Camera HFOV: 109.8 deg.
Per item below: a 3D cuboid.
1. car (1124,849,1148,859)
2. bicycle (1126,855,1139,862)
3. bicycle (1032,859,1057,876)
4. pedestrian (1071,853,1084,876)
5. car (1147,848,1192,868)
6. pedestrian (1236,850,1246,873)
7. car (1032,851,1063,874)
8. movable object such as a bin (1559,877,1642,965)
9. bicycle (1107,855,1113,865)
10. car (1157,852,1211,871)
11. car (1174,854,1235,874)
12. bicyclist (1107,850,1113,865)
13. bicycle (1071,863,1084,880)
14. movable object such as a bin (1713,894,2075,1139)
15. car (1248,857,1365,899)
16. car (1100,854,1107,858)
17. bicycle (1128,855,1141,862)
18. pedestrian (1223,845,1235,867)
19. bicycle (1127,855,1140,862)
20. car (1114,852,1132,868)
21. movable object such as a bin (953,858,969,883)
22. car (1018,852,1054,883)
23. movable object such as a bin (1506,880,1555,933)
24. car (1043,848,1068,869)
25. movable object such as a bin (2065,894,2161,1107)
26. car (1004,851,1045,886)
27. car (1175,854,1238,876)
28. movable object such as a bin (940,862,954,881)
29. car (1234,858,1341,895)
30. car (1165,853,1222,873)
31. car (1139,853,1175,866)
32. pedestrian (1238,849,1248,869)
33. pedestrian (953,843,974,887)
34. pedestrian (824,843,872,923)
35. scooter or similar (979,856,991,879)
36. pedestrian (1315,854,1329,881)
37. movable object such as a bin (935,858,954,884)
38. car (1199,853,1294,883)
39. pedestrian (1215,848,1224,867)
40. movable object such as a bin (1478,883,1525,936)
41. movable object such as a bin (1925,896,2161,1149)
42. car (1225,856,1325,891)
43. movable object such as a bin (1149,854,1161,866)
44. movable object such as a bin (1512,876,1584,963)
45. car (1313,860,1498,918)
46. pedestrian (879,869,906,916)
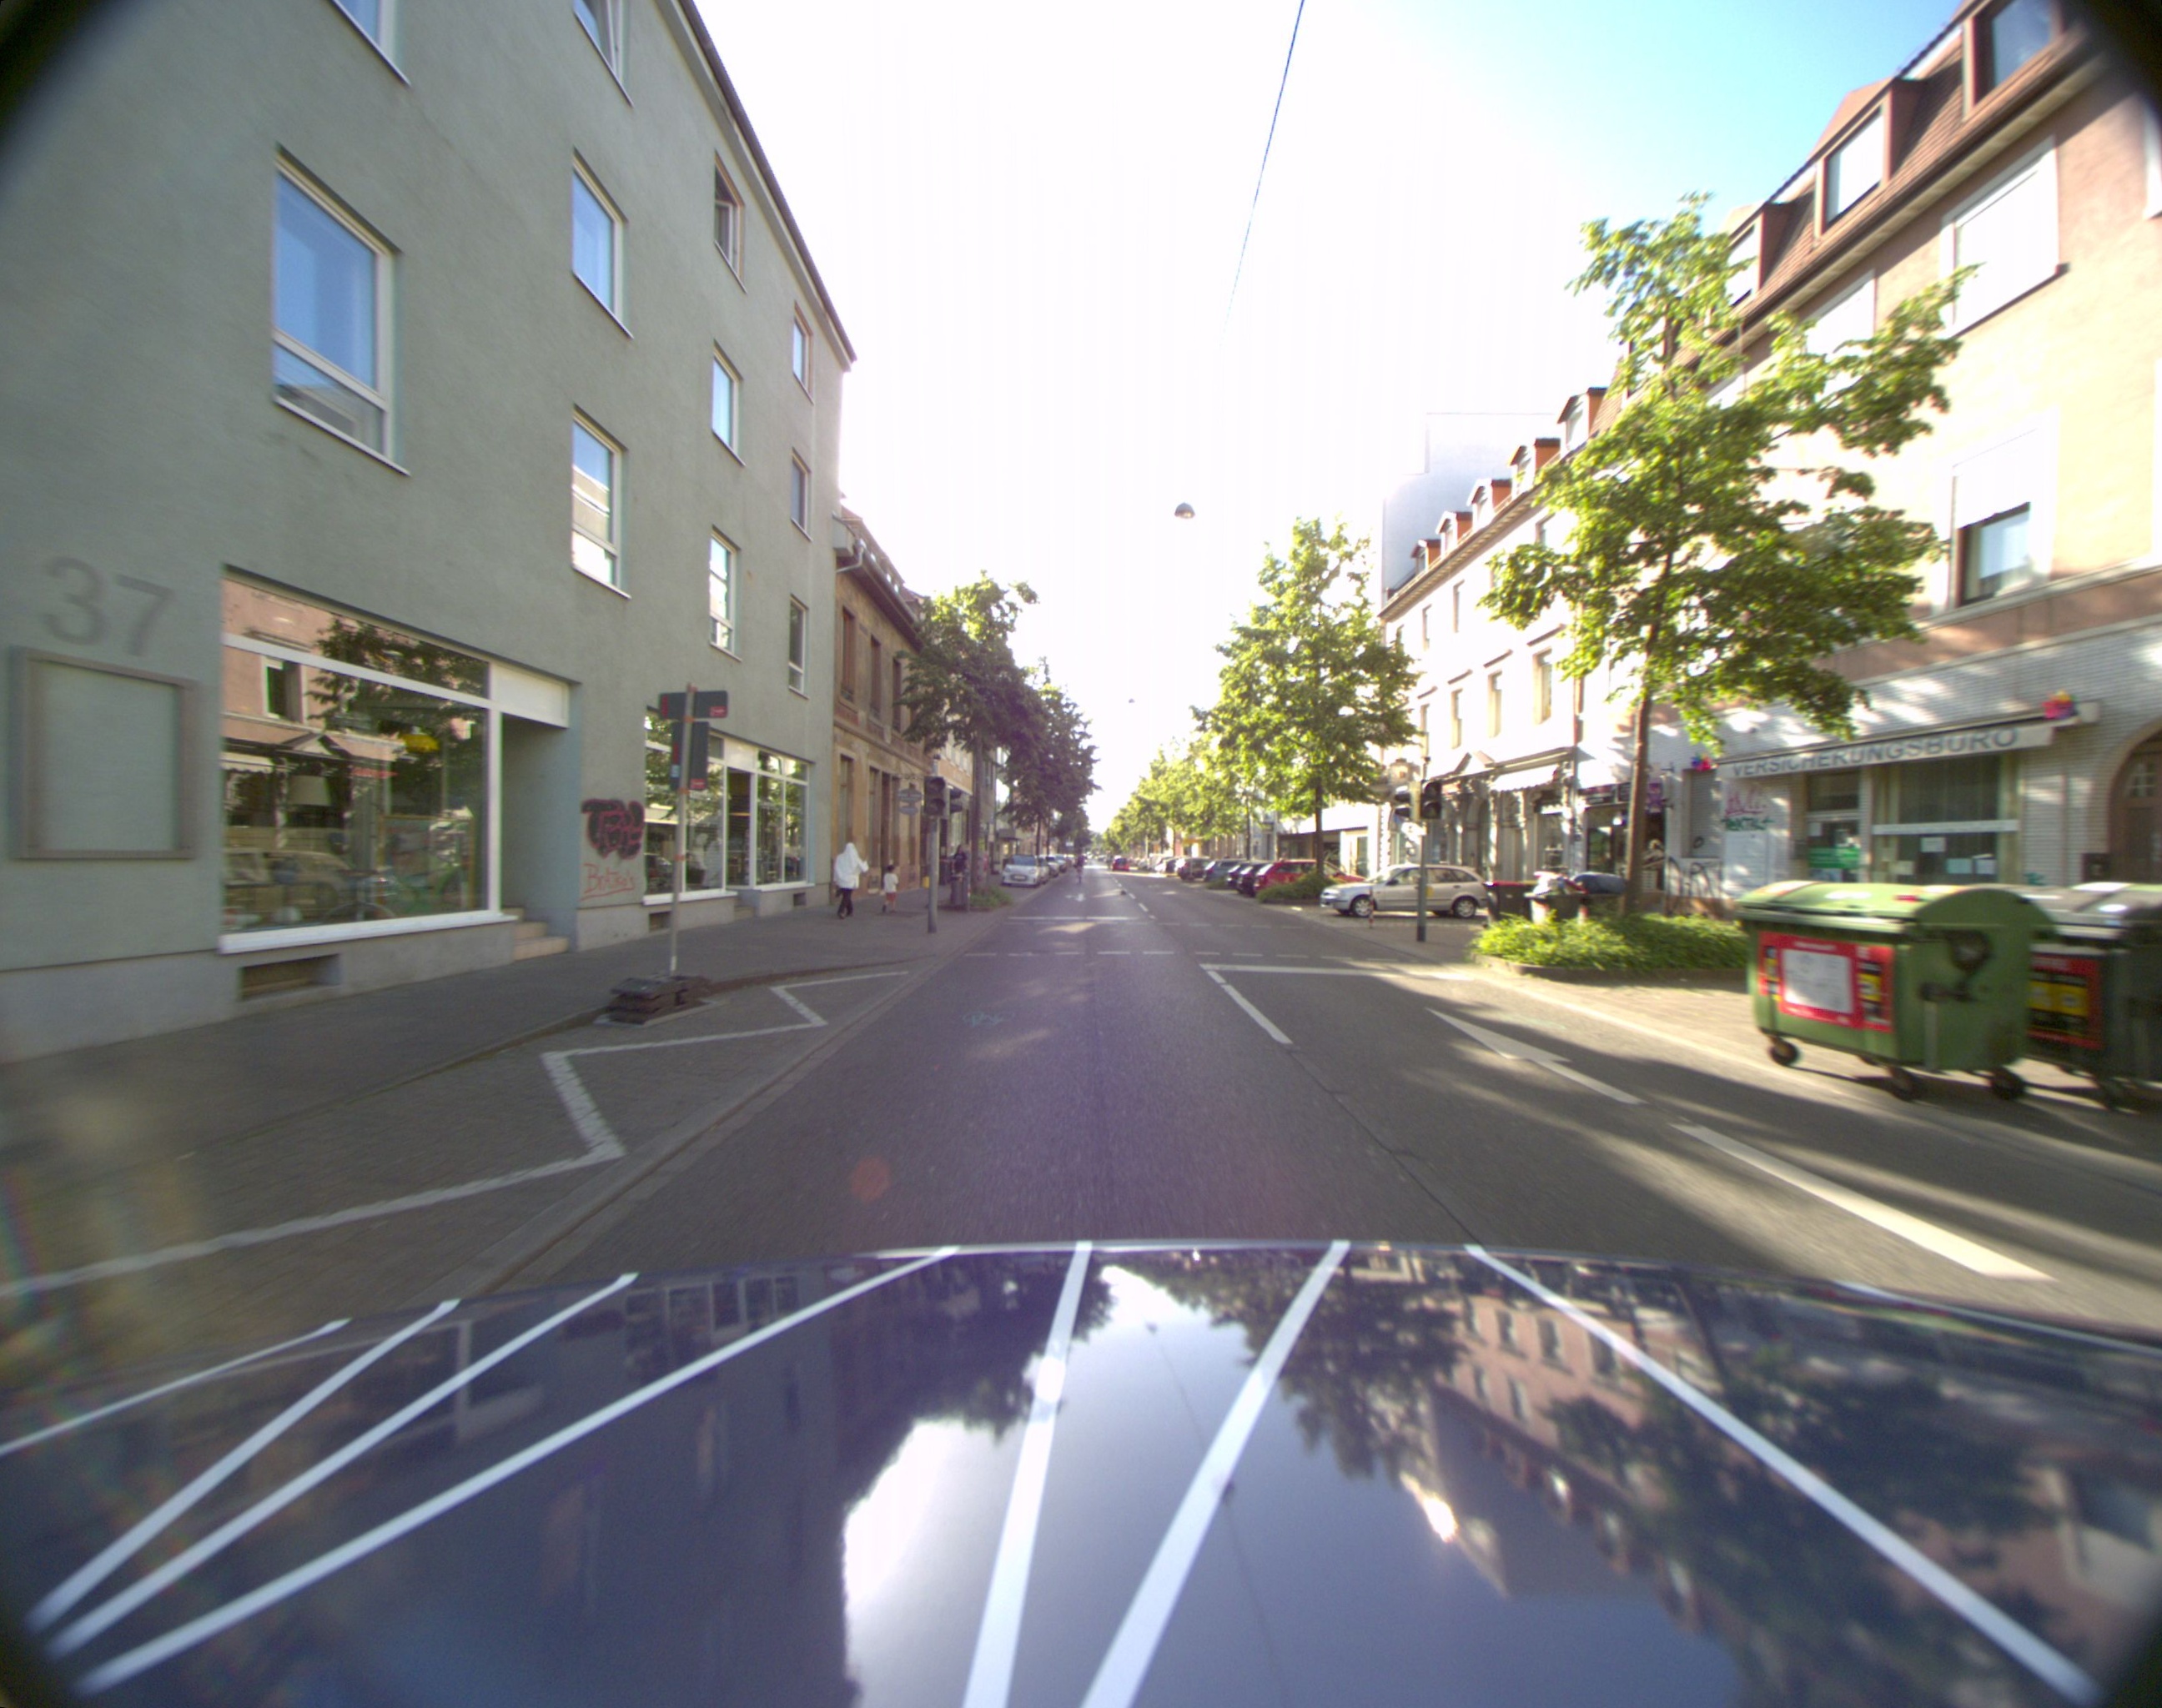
[{"bbox_3d":[9.856,0.023,135.384,4.134,1.670,2.000,0,1,0],"label":"car"},{"bbox_3d":[7.981,0.700,117.428,2.006,1.023,0.473,-1,1,-12],"label":"bicycle"},{"bbox_3d":[-2.446,0.929,51.253,1.626,1.007,0.611,5,0,-1],"label":"bicycle"},{"bbox_3d":[-0.205,0.640,45.565,0.804,1.381,0.931,-1,0,0],"label":"pedestrian"},{"bbox_3d":[8.473,0.388,73.078,4.115,1.825,2.038,0,0,1],"label":"car"},{"bbox_3d":[12.538,0.575,59.477,0.700,1.787,0.746,1,1,12],"label":"pedestrian"},{"bbox_3d":[-2.343,0.574,54.281,1.887,1.518,4.233,3,0,0],"label":"car"},{"bbox_3d":[8.406,1.068,12.333,0.756,1.333,0.805,1,1,0],"label":"movable object such as a bin"},{"bbox_3d":[3.327,0.701,87.468,0.727,1.162,2.197,1,0,1],"label":"bicycle"},{"bbox_3d":[8.642,0.600,64.062,4.377,1.561,1.946,0,0,1],"label":"car"},{"bbox_3d":[9.231,0.729,57.001,4.257,1.450,1.979,0,0,-3],"label":"car"},{"bbox_3d":[3.322,0.362,87.388,0.727,1.690,1.282,1,0,1],"label":"bicyclist"},{"bbox_3d":[-0.211,1.033,45.613,0.805,0.958,1.996,-1,0,0],"label":"bicycle"},{"bbox_3d":[5.765,1.072,5.552,1.045,1.463,1.452,1,1,0],"label":"movable object such as a bin"},{"bbox_3d":[8.134,0.859,27.682,3.757,1.460,1.739,0,0,0],"label":"car"},{"bbox_3d":[6.928,0.601,233.224,1.835,1.410,3.833,1,0,1],"label":"car"},{"bbox_3d":[8.182,0.717,116.505,2.006,1.023,0.473,-1,1,-12],"label":"bicycle"},{"bbox_3d":[12.570,0.177,64.400,0.776,1.756,0.763,-4,1,-1],"label":"pedestrian"},{"bbox_3d":[8.074,0.699,117.004,2.006,1.023,0.473,-1,1,-12],"label":"bicycle"},{"bbox_3d":[4.146,0.563,75.293,1.662,1.526,3.760,2,0,1],"label":"car"},{"bbox_3d":[-5.331,0.721,33.748,0.523,1.034,0.722,3,1,2],"label":"movable object such as a bin"},{"bbox_3d":[-2.458,0.718,42.325,1.618,1.520,4.234,4,0,0],"label":"car"},{"bbox_3d":[9.508,1.101,16.107,0.532,1.063,0.805,1,1,0],"label":"movable object such as a bin"},{"bbox_3d":[-2.259,0.416,68.198,1.998,1.680,4.516,4,0,0],"label":"car"},{"bbox_3d":[8.048,1.046,5.248,0.966,1.463,1.143,1,1,0],"label":"movable object such as a bin"},{"bbox_3d":[-2.653,0.656,36.248,1.618,1.520,3.060,3,1,0],"label":"car"},{"bbox_3d":[8.245,0.719,50.163,3.790,1.450,1.780,0,0,-2],"label":"car"},{"bbox_3d":[-5.936,0.775,33.694,0.512,0.855,0.479,1,1,2],"label":"movable object such as a bin"},{"bbox_3d":[8.158,0.888,30.277,3.850,1.420,1.790,0,0,2],"label":"car"},{"bbox_3d":[9.042,0.681,61.507,4.377,1.561,1.980,0,0,1],"label":"car"},{"bbox_3d":[8.569,0.610,85.983,3.788,1.455,1.710,0,0,-2],"label":"car"},{"bbox_3d":[12.592,0.395,58.946,0.594,1.485,0.842,-2,1,2],"label":"pedestrian"},{"bbox_3d":[-4.844,0.432,31.317,0.624,1.755,0.771,3,1,2],"label":"pedestrian"},{"bbox_3d":[-4.777,0.573,15.610,0.582,1.550,1.020,4,1,0],"label":"pedestrian"},{"bbox_3d":[-4.970,0.689,39.360,0.400,1.180,1.168,3,1,2],"label":"scooter or similar"},{"bbox_3d":[12.469,0.696,39.371,0.509,1.400,0.825,0,0,5],"label":"pedestrian"},{"bbox_3d":[-5.774,0.720,32.151,0.590,1.034,0.722,3,1,2],"label":"movable object such as a bin"},{"bbox_3d":[8.514,0.713,39.282,4.505,1.450,1.790,-1,1,-2],"label":"car"},{"bbox_3d":[11.715,0.294,64.381,0.566,1.617,0.727,-4,1,-1],"label":"pedestrian"},{"bbox_3d":[8.886,1.163,16.079,0.532,1.063,0.805,1,1,0],"label":"movable object such as a bin"},{"bbox_3d":[6.930,1.062,5.173,1.045,1.463,1.143,1,1,0],"label":"movable object such as a bin"},{"bbox_3d":[8.305,0.820,32.776,3.928,1.477,1.771,0,0,2],"label":"car"},{"bbox_3d":[7.735,0.639,79.517,1.240,1.295,0.870,1,1,0],"label":"movable object such as a bin"},{"bbox_3d":[7.561,1.039,12.342,0.636,1.333,0.805,1,1,0],"label":"movable object such as a bin"},{"bbox_3d":[8.567,0.889,20.329,4.212,1.460,1.740,0,0,3],"label":"car"},{"bbox_3d":[-4.351,0.882,17.594,0.394,1.027,0.739,4,1,0],"label":"pedestrian"}]
